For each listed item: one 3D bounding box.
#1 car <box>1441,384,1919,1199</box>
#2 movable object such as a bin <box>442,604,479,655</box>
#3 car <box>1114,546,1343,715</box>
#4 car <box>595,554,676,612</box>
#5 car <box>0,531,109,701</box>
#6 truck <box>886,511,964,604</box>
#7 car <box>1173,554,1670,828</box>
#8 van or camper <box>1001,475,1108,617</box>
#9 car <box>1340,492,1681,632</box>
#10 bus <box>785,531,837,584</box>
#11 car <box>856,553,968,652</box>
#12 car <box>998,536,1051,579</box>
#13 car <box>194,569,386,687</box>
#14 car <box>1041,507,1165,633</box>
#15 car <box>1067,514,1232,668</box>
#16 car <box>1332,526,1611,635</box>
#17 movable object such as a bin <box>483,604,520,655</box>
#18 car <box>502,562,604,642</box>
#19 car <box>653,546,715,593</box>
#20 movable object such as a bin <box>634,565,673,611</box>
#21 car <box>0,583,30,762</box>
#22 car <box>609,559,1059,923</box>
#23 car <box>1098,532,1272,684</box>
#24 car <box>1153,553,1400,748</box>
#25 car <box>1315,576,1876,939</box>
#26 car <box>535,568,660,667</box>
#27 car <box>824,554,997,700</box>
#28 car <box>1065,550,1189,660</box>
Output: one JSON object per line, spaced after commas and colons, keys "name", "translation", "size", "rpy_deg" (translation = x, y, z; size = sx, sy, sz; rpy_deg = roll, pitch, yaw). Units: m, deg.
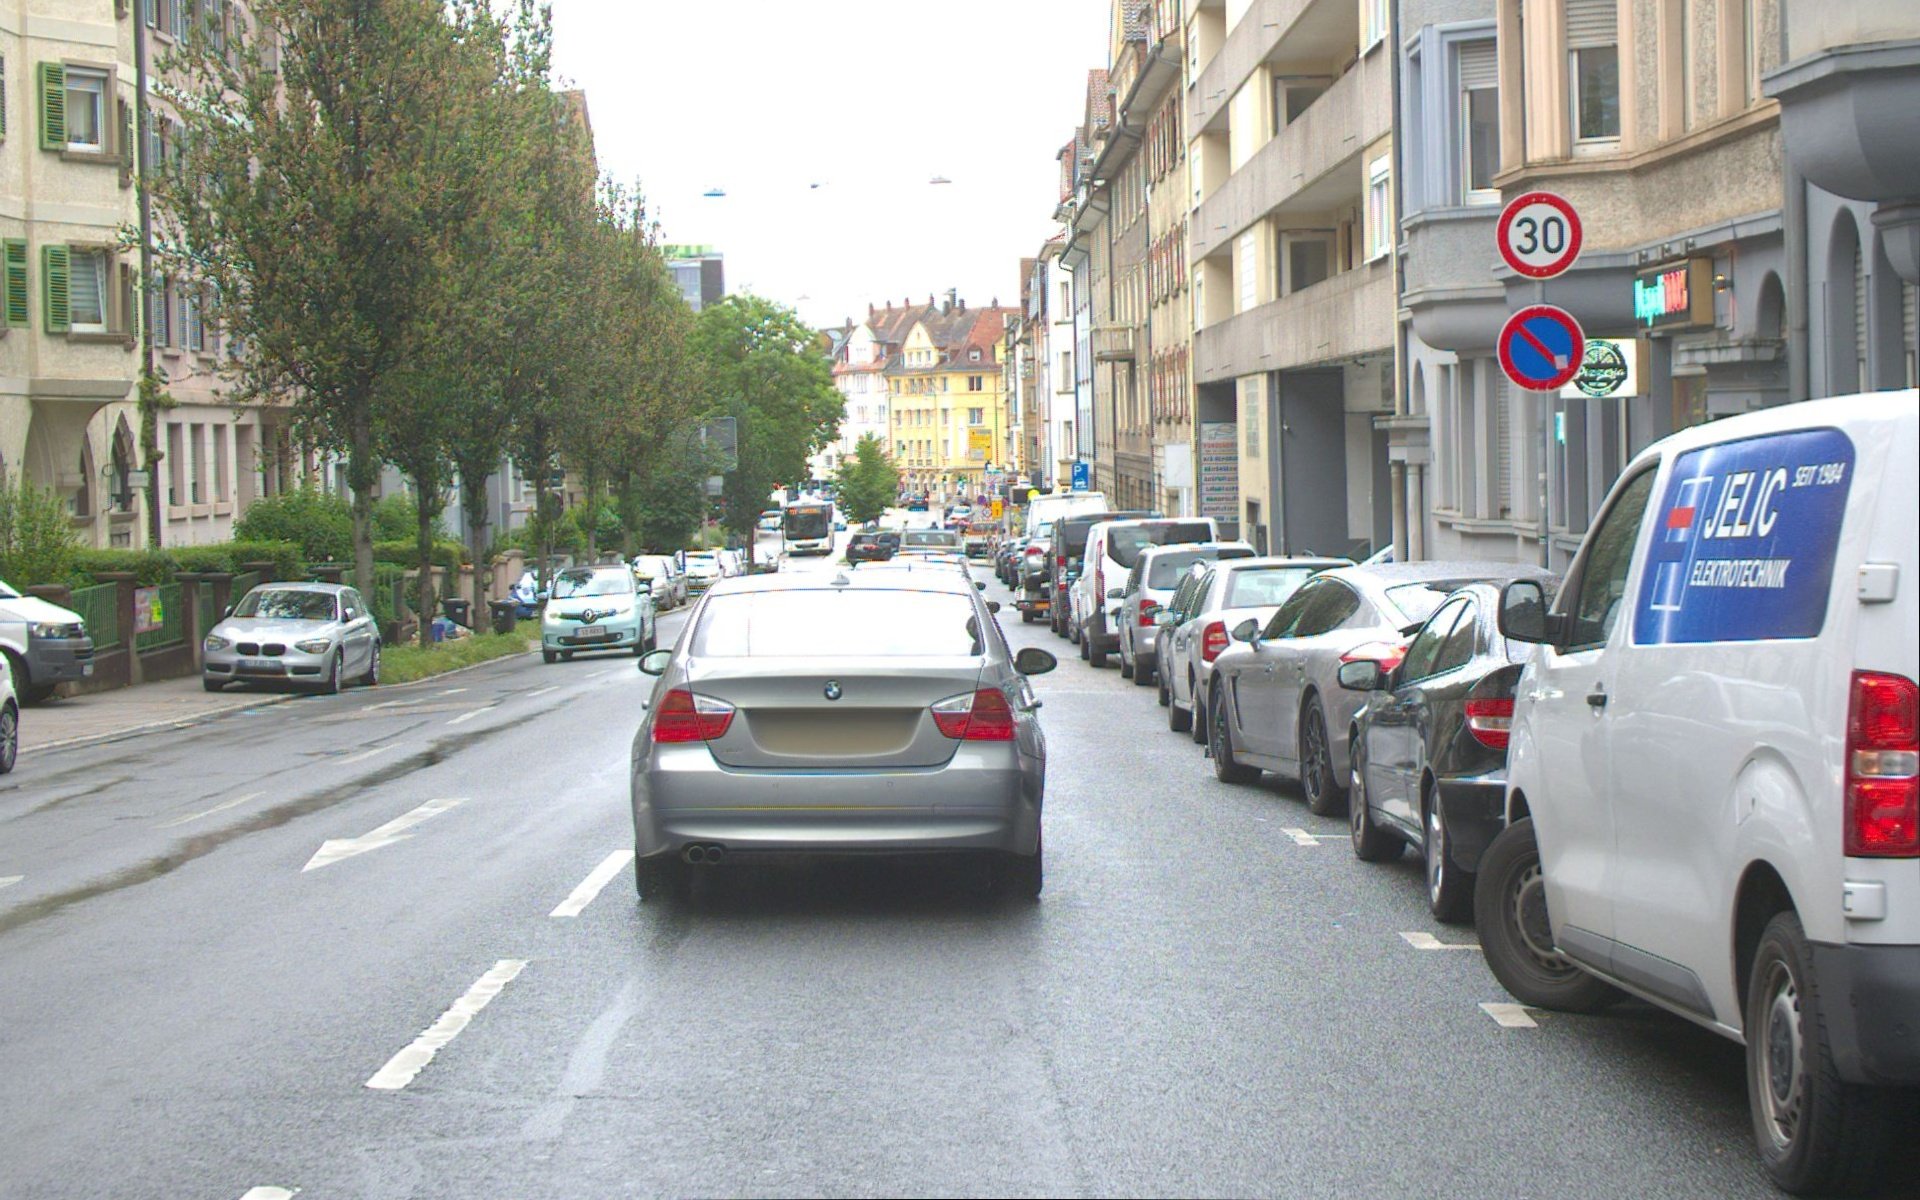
{"name": "car", "translation": [2.734, 0.398, 9.888], "size": [1.919, 1.821, 5.009], "rpy_deg": [-2, 1, 0]}
{"name": "movable object such as a bin", "translation": [-9.086, 0.535, 62.502], "size": [0.574, 0.909, 0.640], "rpy_deg": [-2, 1, -14]}
{"name": "car", "translation": [2.622, 0.258, 34.590], "size": [1.900, 1.473, 4.798], "rpy_deg": [-3, 1, 1]}
{"name": "car", "translation": [-9.106, -0.499, 96.641], "size": [1.827, 1.518, 3.736], "rpy_deg": [-2, 1, 1]}
{"name": "car", "translation": [-12.882, 0.228, 41.169], "size": [4.829, 1.967, 2.048], "rpy_deg": [-1, 1, 0]}
{"name": "truck", "translation": [-0.961, -1.124, 92.849], "size": [2.032, 2.404, 4.827], "rpy_deg": [1, 0, -1]}
{"name": "car", "translation": [2.648, 0.477, 20.965], "size": [1.875, 1.462, 4.776], "rpy_deg": [1, 0, -6]}
{"name": "van or camper", "translation": [2.077, -1.170, 73.507], "size": [2.033, 2.859, 6.884], "rpy_deg": [-1, 1, 3]}
{"name": "car", "translation": [7.523, -0.523, 46.877], "size": [4.329, 1.798, 2.005], "rpy_deg": [0, 2, 18]}
{"name": "bus", "translation": [-8.822, -2.539, 204.152], "size": [2.668, 3.014, 7.671], "rpy_deg": [-2, 1, 0]}
{"name": "car", "translation": [-0.765, 0.031, 54.507], "size": [1.697, 1.478, 3.794], "rpy_deg": [1, 0, -1]}
{"name": "car", "translation": [2.243, -1.483, 121.018], "size": [1.697, 1.478, 3.975], "rpy_deg": [1, 0, -1]}
{"name": "car", "translation": [-8.969, 0.357, 46.306], "size": [1.726, 1.479, 3.989], "rpy_deg": [2, 0, 1]}
{"name": "car", "translation": [2.575, -0.557, 62.982], "size": [1.982, 2.158, 4.750], "rpy_deg": [-2, 1, 0]}
{"name": "car", "translation": [2.606, -0.145, 48.313], "size": [1.982, 2.000, 4.625], "rpy_deg": [-2, 1, 0]}
{"name": "car", "translation": [8.178, -0.312, 54.875], "size": [4.289, 1.635, 1.666], "rpy_deg": [-1, 2, 13]}
{"name": "movable object such as a bin", "translation": [-8.365, 0.529, 62.666], "size": [0.574, 0.909, 0.640], "rpy_deg": [-2, 1, -14]}
{"name": "car", "translation": [-8.772, 0.017, 74.423], "size": [1.766, 1.588, 4.000], "rpy_deg": [-2, 1, -1]}
{"name": "car", "translation": [-9.365, -1.047, 116.903], "size": [1.691, 1.518, 3.736], "rpy_deg": [-2, 1, 1]}
{"name": "movable object such as a bin", "translation": [-7.917, -0.317, 88.926], "size": [0.935, 1.164, 0.909], "rpy_deg": [0, 1, 0]}
{"name": "car", "translation": [-8.602, 0.618, 26.685], "size": [1.621, 1.441, 4.005], "rpy_deg": [-1, 1, 1]}
{"name": "car", "translation": [-0.630, 0.552, 15.523], "size": [1.769, 1.423, 3.741], "rpy_deg": [1, 0, -4]}
{"name": "car", "translation": [2.670, 0.071, 41.605], "size": [1.726, 1.664, 4.288], "rpy_deg": [-3, 1, 0]}
{"name": "car", "translation": [2.521, 0.359, 28.152], "size": [1.611, 1.469, 4.016], "rpy_deg": [1, 1, 0]}
{"name": "car", "translation": [2.666, 0.590, 15.357], "size": [1.677, 1.370, 4.276], "rpy_deg": [0, 1, 0]}
{"name": "car", "translation": [-6.041, 0.271, 57.583], "size": [1.636, 1.503, 3.755], "rpy_deg": [-3, 1, 0]}
{"name": "car", "translation": [-0.473, 0.255, 36.060], "size": [1.682, 1.423, 3.741], "rpy_deg": [1, 0, 1]}
{"name": "car", "translation": [2.681, 0.054, 55.895], "size": [1.726, 1.664, 4.288], "rpy_deg": [-2, 1, 0]}
